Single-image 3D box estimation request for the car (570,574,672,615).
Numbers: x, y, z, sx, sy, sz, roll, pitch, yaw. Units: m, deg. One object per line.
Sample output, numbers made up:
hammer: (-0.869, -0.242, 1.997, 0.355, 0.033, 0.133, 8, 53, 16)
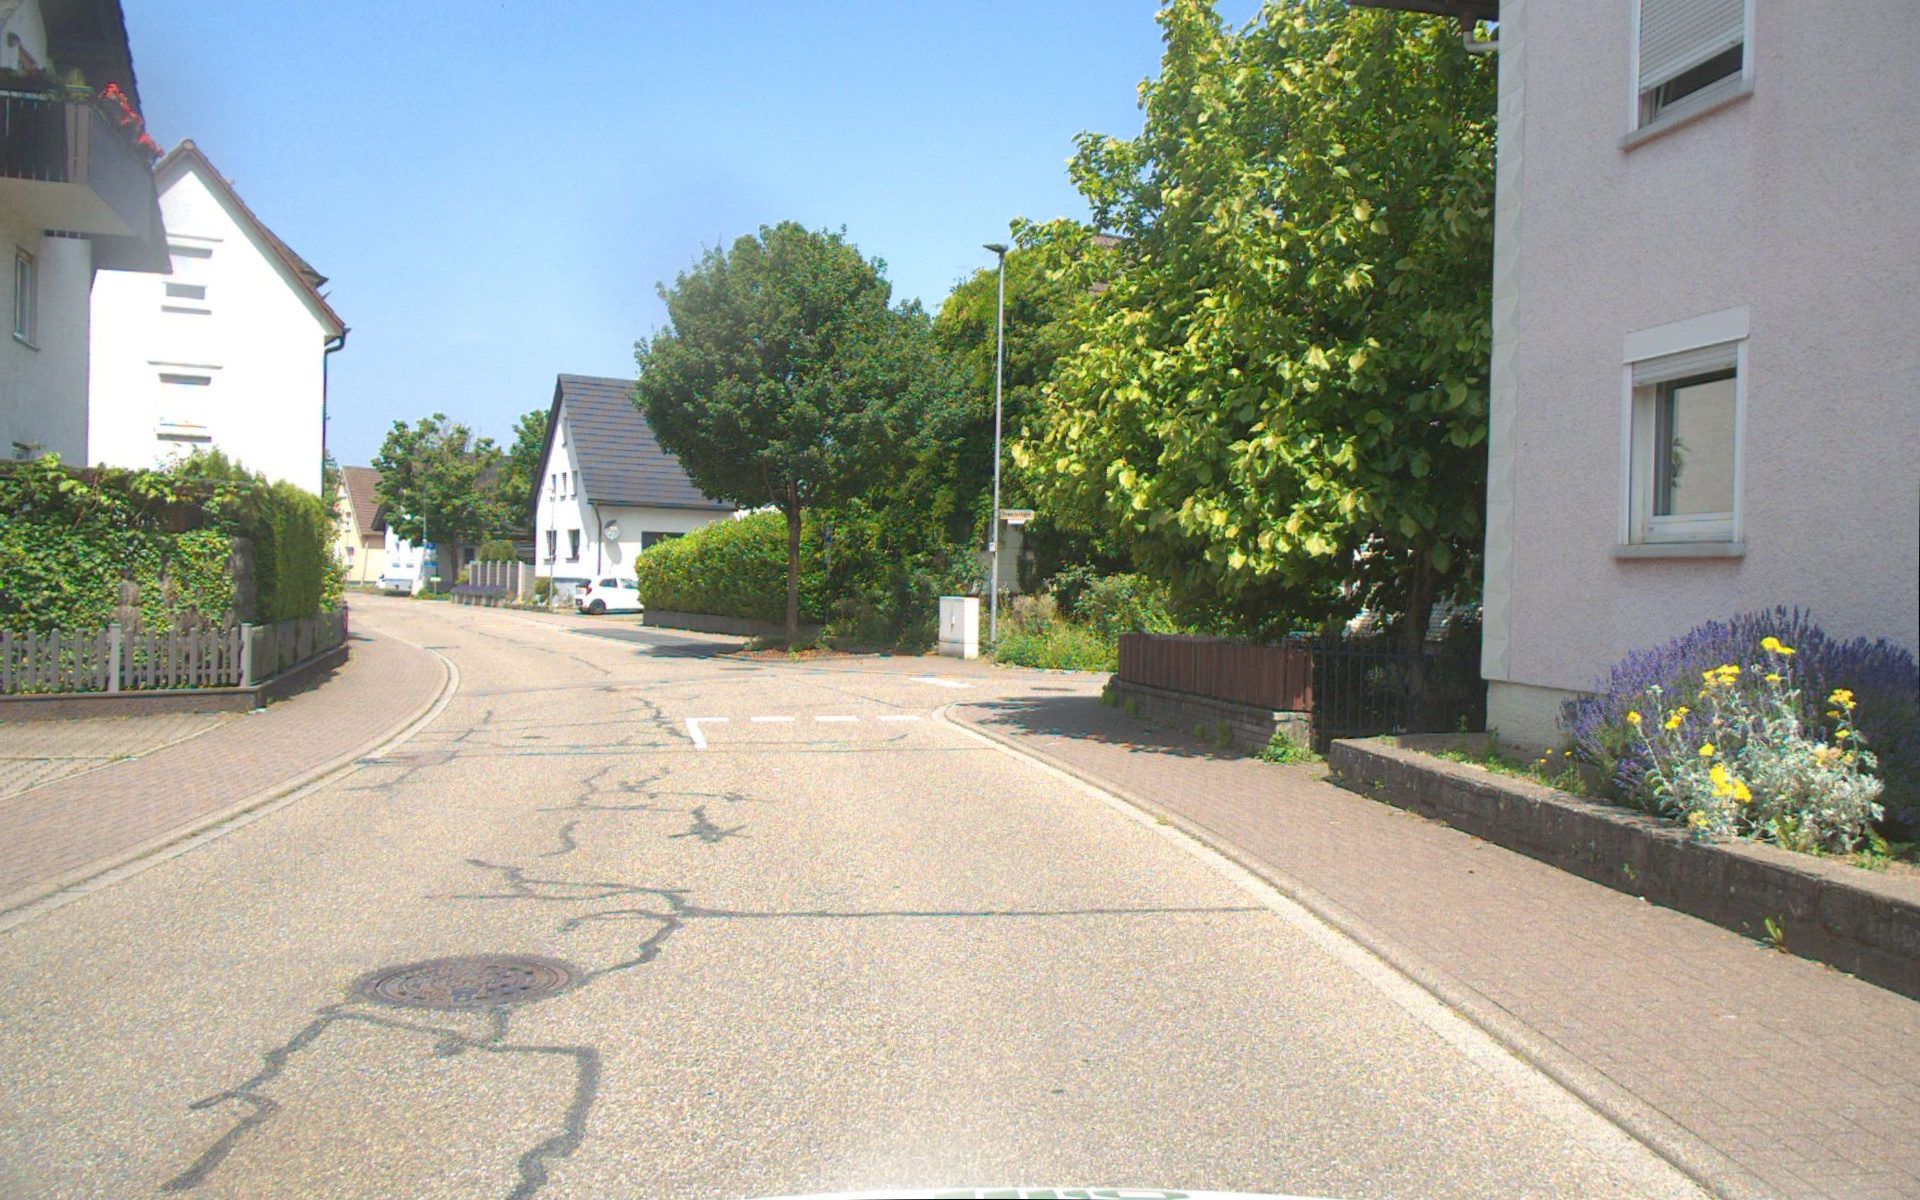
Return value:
car: (-13.437, -0.247, 65.645, 3.621, 1.500, 1.747, -1, 2, -32)
